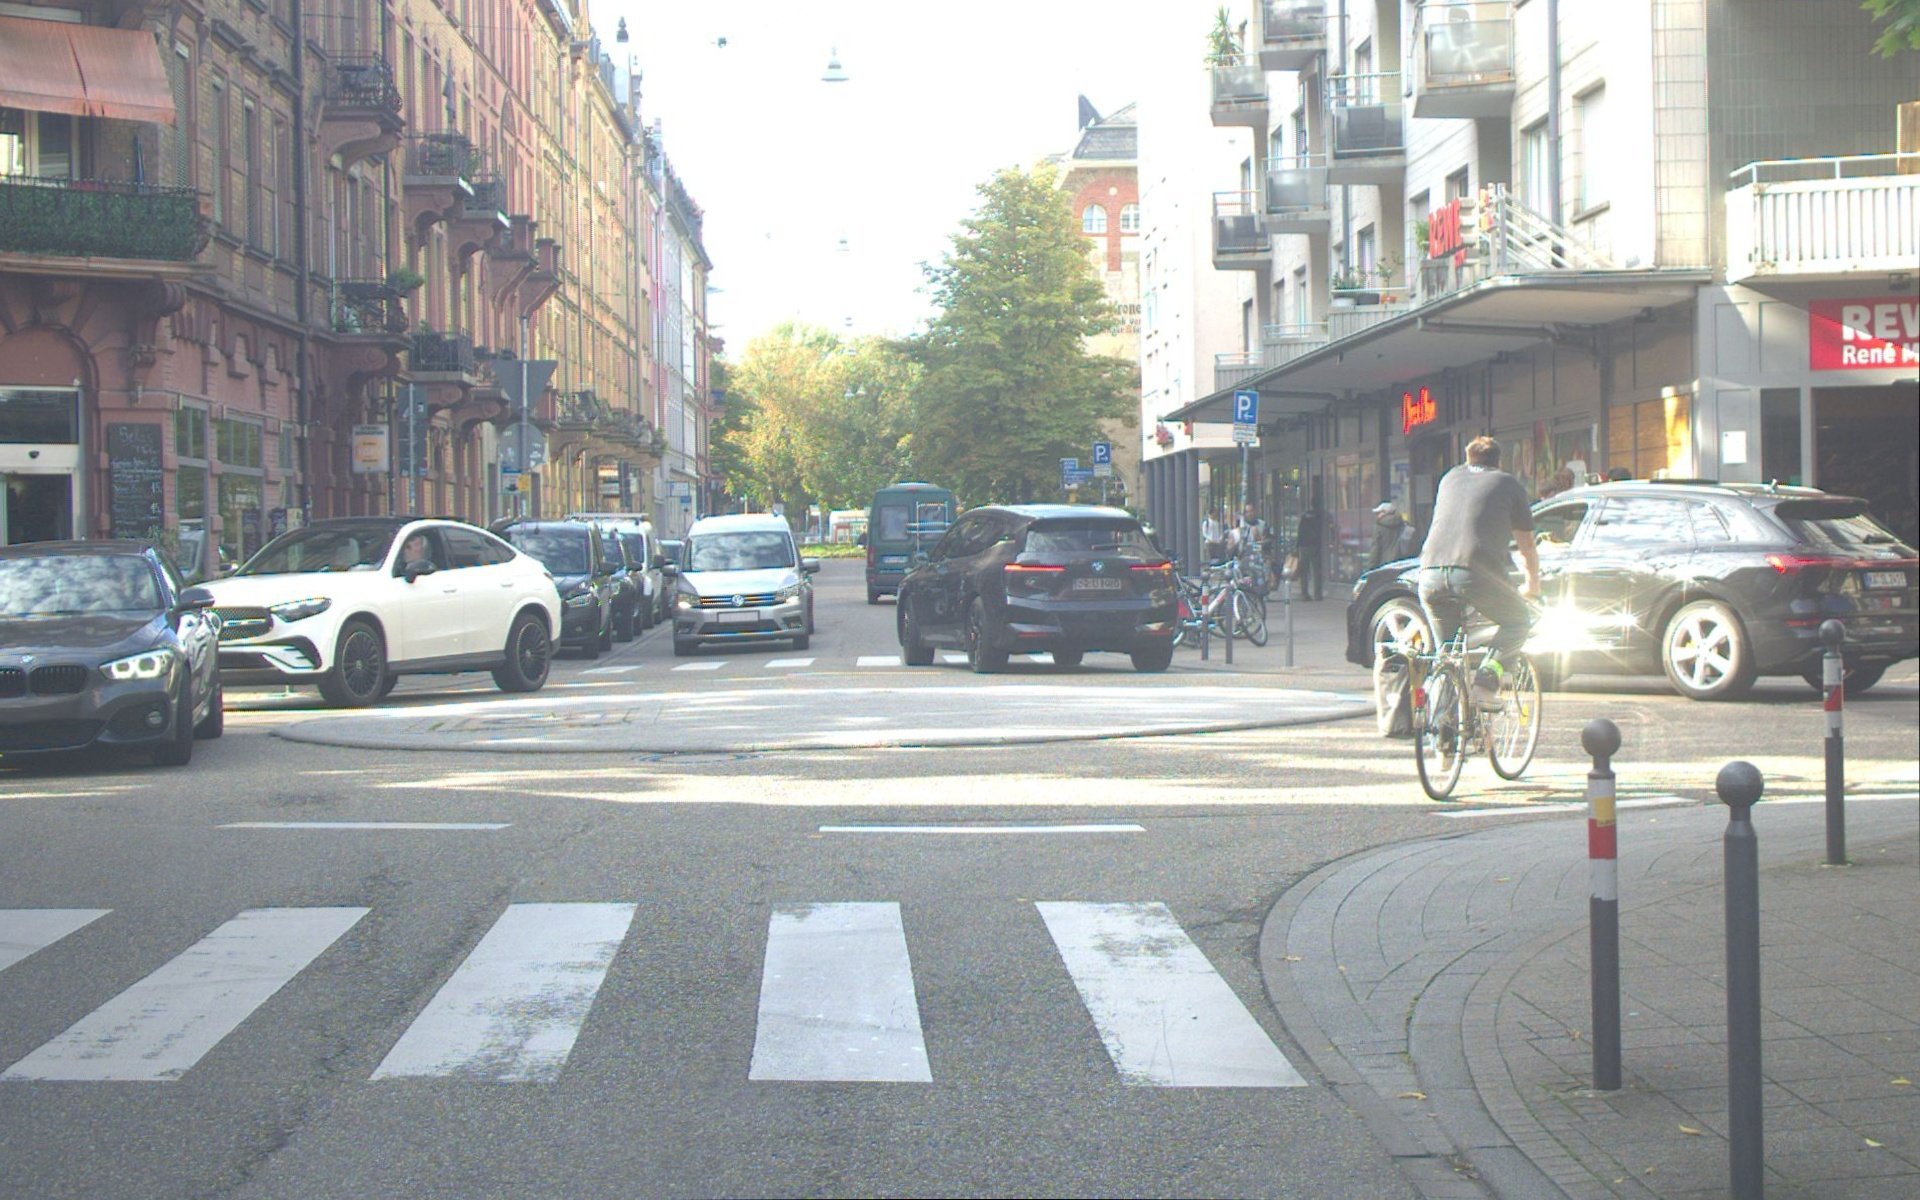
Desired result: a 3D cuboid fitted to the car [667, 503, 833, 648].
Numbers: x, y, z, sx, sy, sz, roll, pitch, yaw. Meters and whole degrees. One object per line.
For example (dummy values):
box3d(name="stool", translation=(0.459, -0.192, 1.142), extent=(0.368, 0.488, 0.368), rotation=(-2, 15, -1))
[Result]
box3d(name="car", translation=(-2.747, -0.361, 45.956), extent=(1.793, 1.784, 4.736), rotation=(-2, 1, 1))

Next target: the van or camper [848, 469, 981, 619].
box3d(name="van or camper", translation=(-1.001, -1.197, 72.746), extent=(2.531, 3.027, 4.459), rotation=(-1, 1, -4))

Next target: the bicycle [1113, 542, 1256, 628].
box3d(name="bicycle", translation=(2.829, -0.196, 43.266), extent=(1.785, 1.023, 0.681), rotation=(-2, 2, -39))

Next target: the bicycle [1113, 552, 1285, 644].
box3d(name="bicycle", translation=(2.830, -0.032, 40.799), extent=(2.000, 1.042, 0.532), rotation=(-1, 1, 1))

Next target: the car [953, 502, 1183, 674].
box3d(name="car", translation=(1.028, -0.157, 34.839), extent=(1.993, 1.612, 4.001), rotation=(-1, 1, -3))

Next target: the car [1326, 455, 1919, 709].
box3d(name="car", translation=(5.296, -0.186, 26.468), extent=(2.037, 1.718, 4.844), rotation=(-4, 3, -39))

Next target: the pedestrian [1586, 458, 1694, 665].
box3d(name="pedestrian", translation=(6.180, -0.353, 31.266), extent=(0.869, 1.845, 0.612), rotation=(-1, 1, 4))

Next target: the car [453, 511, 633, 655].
box3d(name="car", translation=(-5.534, -0.277, 46.107), extent=(1.783, 1.718, 4.445), rotation=(1, 3, 1))

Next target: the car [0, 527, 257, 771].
box3d(name="car", translation=(-5.710, 0.269, 22.258), extent=(1.749, 1.431, 4.212), rotation=(0, 0, -4))

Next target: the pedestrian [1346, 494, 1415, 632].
box3d(name="pedestrian", translation=(5.019, -0.446, 41.007), extent=(0.745, 1.623, 0.812), rotation=(-1, 1, 10))

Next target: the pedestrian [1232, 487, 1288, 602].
box3d(name="pedestrian", translation=(4.891, -0.908, 56.029), extent=(0.731, 1.858, 1.062), rotation=(-1, 1, 14))

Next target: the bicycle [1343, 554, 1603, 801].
box3d(name="bicycle", translation=(2.678, 0.354, 17.697), extent=(0.666, 1.174, 2.494), rotation=(1, 1, 24))

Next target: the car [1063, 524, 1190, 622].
box3d(name="car", translation=(2.455, -0.424, 51.270), extent=(1.645, 1.320, 3.577), rotation=(-3, 1, 0))

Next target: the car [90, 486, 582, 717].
box3d(name="car", translation=(-5.370, -0.048, 30.356), extent=(1.945, 1.716, 4.845), rotation=(-1, 3, 22))

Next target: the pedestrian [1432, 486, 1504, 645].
box3d(name="pedestrian", translation=(5.533, -0.379, 37.432), extent=(0.741, 1.706, 0.733), rotation=(-1, 1, 10))

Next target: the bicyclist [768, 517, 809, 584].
box3d(name="bicyclist", translation=(-5.189, -1.494, 103.791), extent=(1.132, 1.991, 1.028), rotation=(1, 1, -6))

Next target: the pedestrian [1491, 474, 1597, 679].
box3d(name="pedestrian", translation=(5.318, -0.217, 31.352), extent=(0.869, 1.845, 0.612), rotation=(-1, 1, 4))

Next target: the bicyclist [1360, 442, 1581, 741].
box3d(name="bicyclist", translation=(2.612, -0.054, 17.554), extent=(0.934, 1.478, 0.746), rotation=(1, 1, 24))

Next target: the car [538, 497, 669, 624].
box3d(name="car", translation=(-5.962, -0.683, 57.902), extent=(1.993, 2.007, 4.001), rotation=(-1, 1, -4))
